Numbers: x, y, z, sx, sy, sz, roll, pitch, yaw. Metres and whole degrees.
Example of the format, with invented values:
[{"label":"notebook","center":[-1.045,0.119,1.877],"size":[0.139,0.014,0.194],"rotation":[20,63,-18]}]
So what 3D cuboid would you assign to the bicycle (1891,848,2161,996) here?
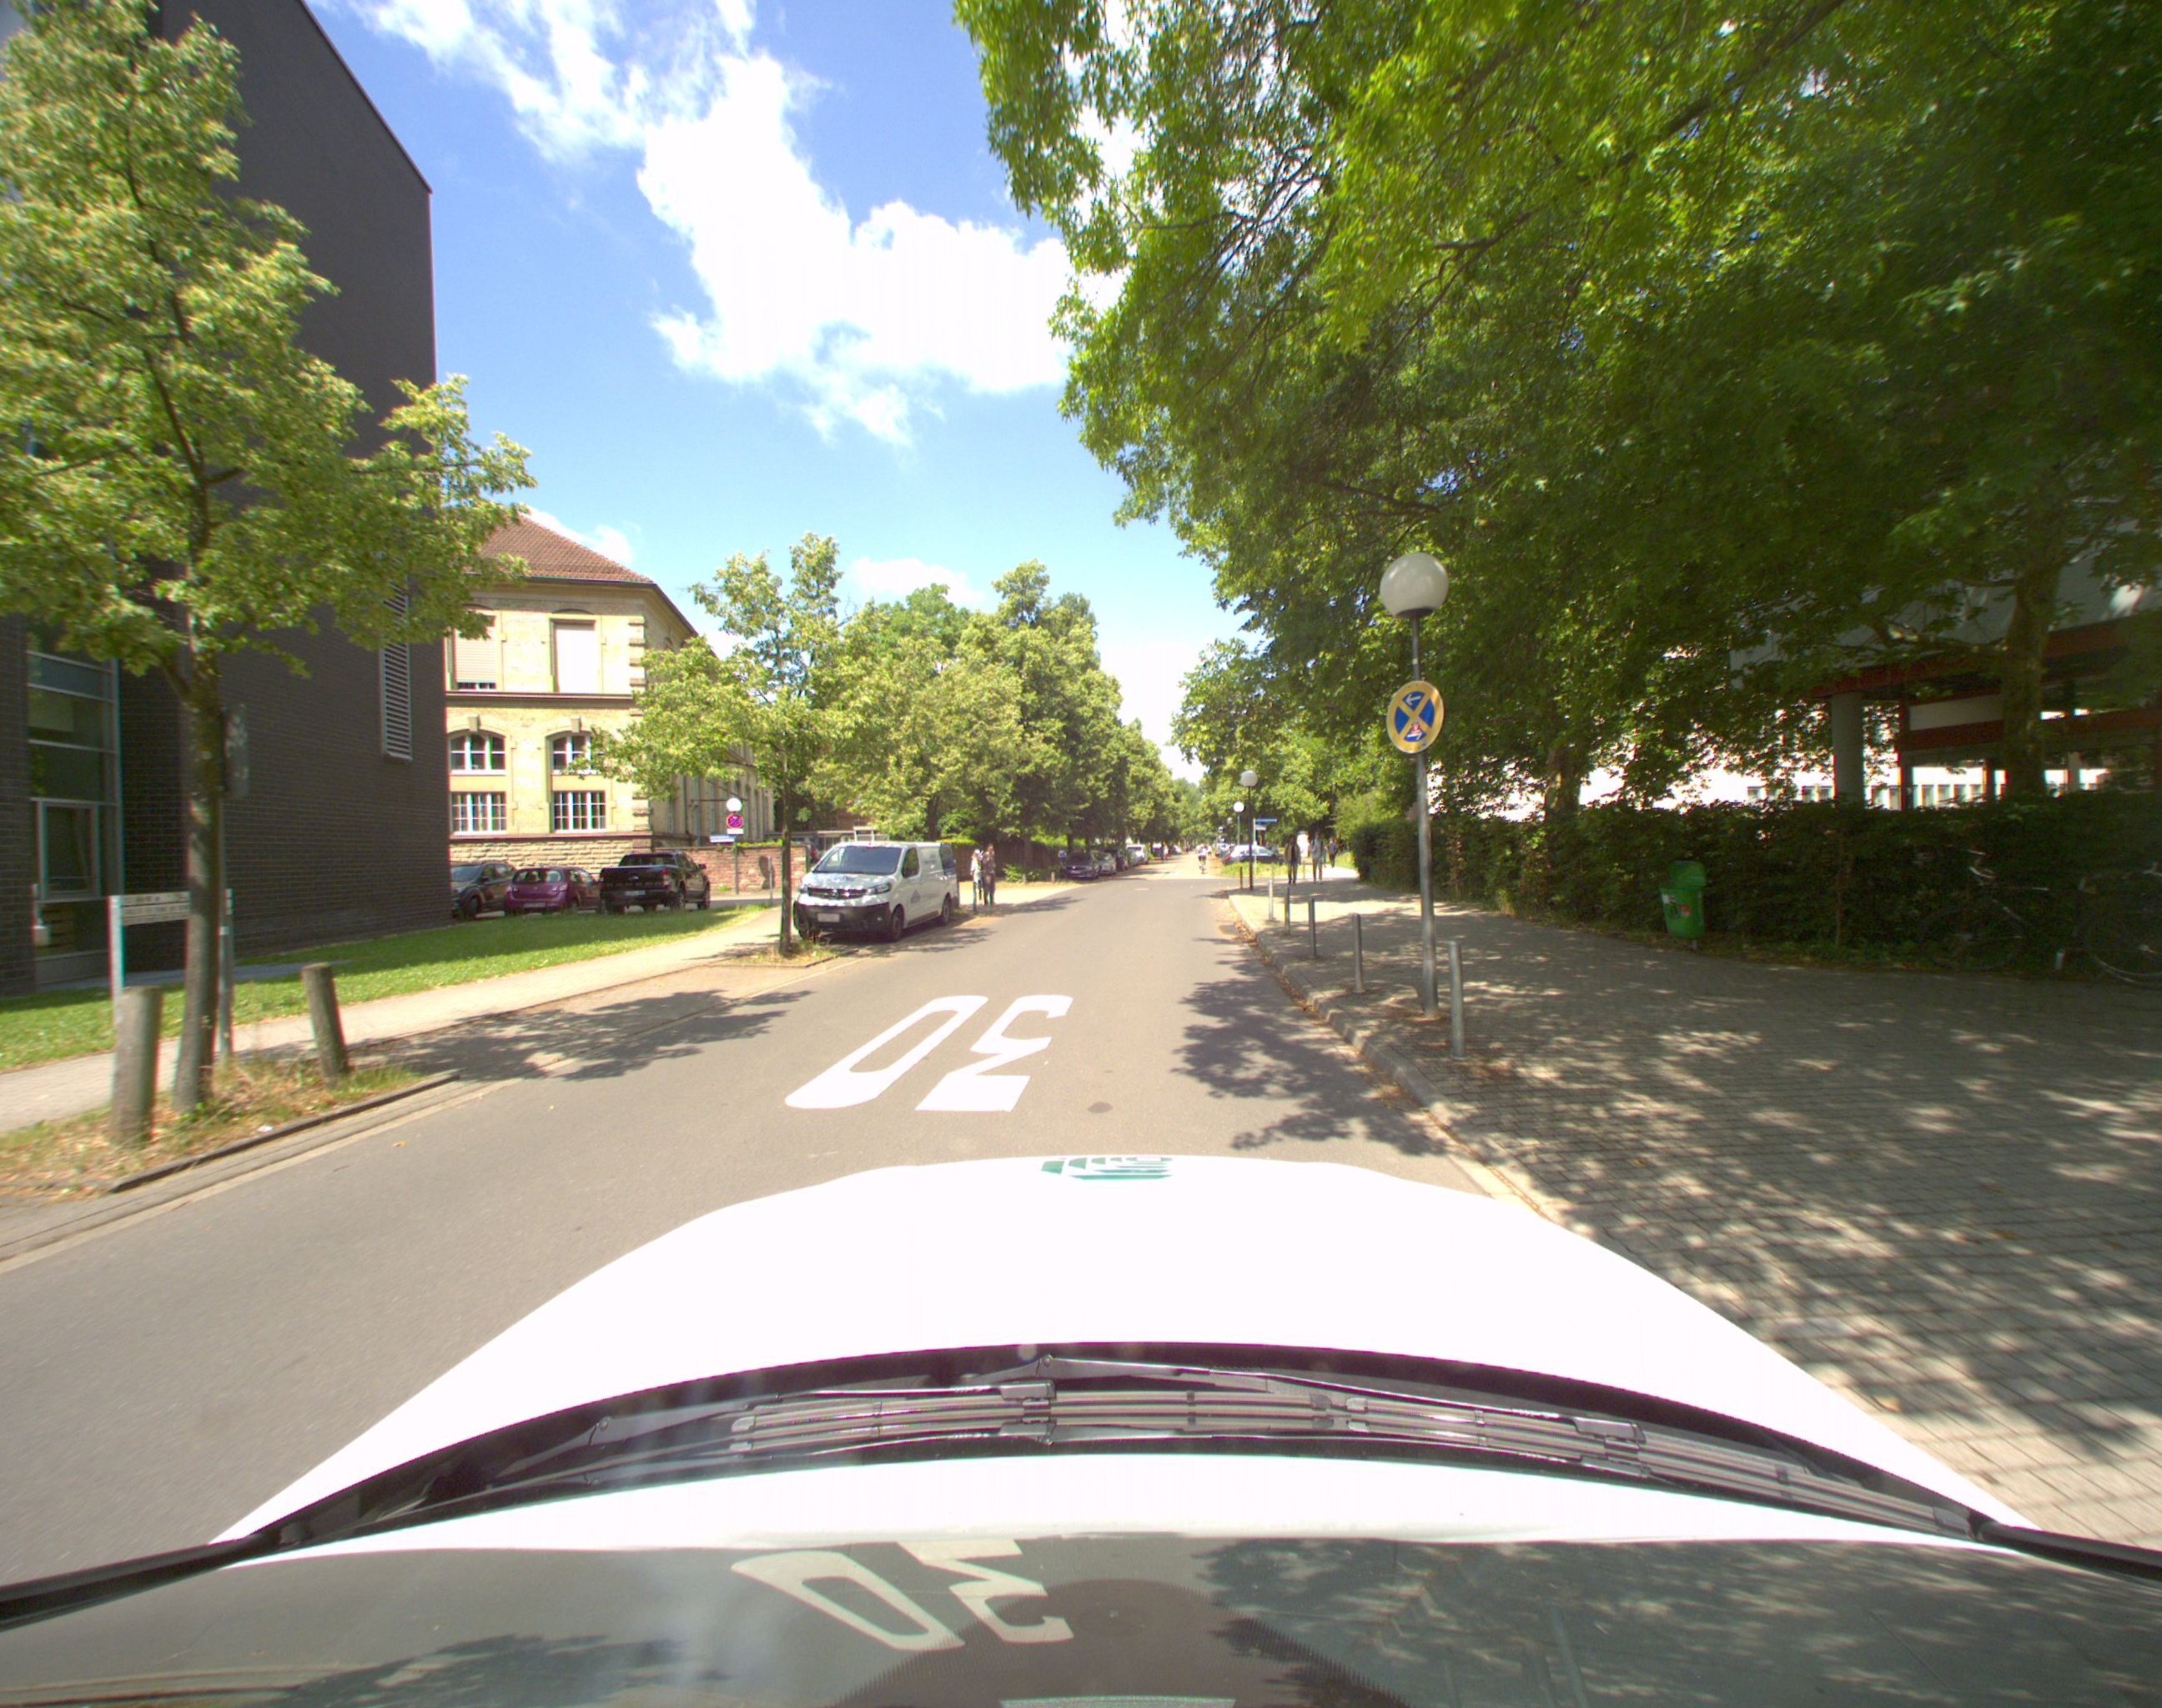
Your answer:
[{"label":"bicycle","center":[8.439,0.518,7.161],"size":[0.618,1.119,1.867],"rotation":[-2,0,-8]}]

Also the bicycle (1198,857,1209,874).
[{"label":"bicycle","center":[7.503,0.669,49.833],"size":[0.610,1.001,1.426],"rotation":[-1,0,7]}]

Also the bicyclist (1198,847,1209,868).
[{"label":"bicyclist","center":[7.487,0.205,49.848],"size":[0.606,1.296,0.612],"rotation":[-1,0,7]}]

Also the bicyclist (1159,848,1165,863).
[{"label":"bicyclist","center":[8.135,0.117,82.043],"size":[0.560,1.498,0.829],"rotation":[-1,0,7]}]

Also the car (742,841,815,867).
[{"label":"car","center":[-19.106,-0.010,51.480],"size":[4.115,1.517,1.739],"rotation":[-2,0,-31]}]

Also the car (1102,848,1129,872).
[{"label":"car","center":[2.554,0.386,59.766],"size":[1.607,1.679,4.009],"rotation":[-1,0,7]}]

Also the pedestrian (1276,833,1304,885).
[{"label":"pedestrian","center":[7.412,0.167,28.871],"size":[0.815,1.755,0.844],"rotation":[-4,0,15]}]

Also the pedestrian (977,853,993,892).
[{"label":"pedestrian","center":[-3.954,0.748,33.448],"size":[0.496,1.585,0.490],"rotation":[-1,0,-26]}]

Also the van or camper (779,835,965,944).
[{"label":"van or camper","center":[-4.116,0.622,17.199],"size":[1.943,1.923,5.431],"rotation":[0,0,7]}]

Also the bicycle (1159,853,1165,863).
[{"label":"bicycle","center":[8.140,0.423,81.992],"size":[0.574,1.001,1.426],"rotation":[-1,0,7]}]

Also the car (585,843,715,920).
[{"label":"car","center":[-12.252,0.712,23.571],"size":[2.179,1.925,5.159],"rotation":[-1,0,-15]}]

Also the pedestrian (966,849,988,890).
[{"label":"pedestrian","center":[-4.326,0.640,33.967],"size":[0.632,1.663,0.596],"rotation":[-1,0,-41]}]

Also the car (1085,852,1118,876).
[{"label":"car","center":[1.329,0.577,51.145],"size":[1.607,1.387,4.009],"rotation":[-1,0,7]}]

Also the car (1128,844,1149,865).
[{"label":"car","center":[5.308,0.061,74.885],"size":[1.607,1.815,4.009],"rotation":[-1,0,7]}]

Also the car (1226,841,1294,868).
[{"label":"car","center":[11.797,0.015,53.897],"size":[4.232,1.588,1.815],"rotation":[-2,0,8]}]

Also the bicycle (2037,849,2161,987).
[{"label":"bicycle","center":[9.129,0.524,6.559],"size":[0.498,1.119,1.867],"rotation":[-2,0,-8]}]

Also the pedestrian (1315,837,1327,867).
[{"label":"pedestrian","center":[14.594,-0.123,49.536],"size":[0.597,1.755,0.631],"rotation":[-1,0,14]}]

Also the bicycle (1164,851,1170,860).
[{"label":"bicycle","center":[9.708,0.180,91.927],"size":[0.610,1.001,1.426],"rotation":[-1,0,7]}]

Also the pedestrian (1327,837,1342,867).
[{"label":"pedestrian","center":[15.335,-0.120,49.254],"size":[0.815,1.755,0.631],"rotation":[-1,0,13]}]

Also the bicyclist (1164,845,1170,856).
[{"label":"bicyclist","center":[9.704,-0.408,91.975],"size":[0.605,1.296,0.612],"rotation":[-1,0,7]}]

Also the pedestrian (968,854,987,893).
[{"label":"pedestrian","center":[-4.146,0.775,32.694],"size":[0.588,1.527,0.489],"rotation":[-1,0,-32]}]

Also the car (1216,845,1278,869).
[{"label":"car","center":[11.925,0.213,58.819],"size":[4.232,1.588,1.815],"rotation":[-2,0,8]}]

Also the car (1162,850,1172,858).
[{"label":"car","center":[15.407,-0.010,145.761],"size":[1.607,1.365,4.007],"rotation":[-1,0,6]}]

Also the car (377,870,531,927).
[{"label":"car","center":[-16.933,1.141,22.268],"size":[1.820,1.324,4.142],"rotation":[1,0,-14]}]

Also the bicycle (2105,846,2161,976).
[{"label":"bicycle","center":[9.671,0.492,6.458],"size":[0.498,1.119,1.931],"rotation":[-2,0,-8]}]

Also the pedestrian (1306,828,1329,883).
[{"label":"pedestrian","center":[8.360,0.052,28.826],"size":[0.667,1.872,0.794],"rotation":[-1,0,11]}]

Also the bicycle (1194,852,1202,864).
[{"label":"bicycle","center":[9.711,0.308,67.528],"size":[0.610,1.001,1.426],"rotation":[-1,0,7]}]

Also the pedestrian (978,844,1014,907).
[{"label":"pedestrian","center":[-2.540,0.628,24.409],"size":[0.717,1.857,0.796],"rotation":[-1,0,25]}]

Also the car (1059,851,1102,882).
[{"label":"car","center":[0.026,0.627,43.495],"size":[1.750,1.522,4.120],"rotation":[-1,0,7]}]

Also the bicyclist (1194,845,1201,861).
[{"label":"bicyclist","center":[9.681,-0.097,67.461],"size":[0.519,1.296,0.612],"rotation":[-1,0,7]}]

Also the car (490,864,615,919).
[{"label":"car","center":[-14.772,0.993,23.012],"size":[1.820,1.324,3.749],"rotation":[-1,0,-14]}]

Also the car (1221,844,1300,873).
[{"label":"car","center":[10.756,0.278,49.078],"size":[4.460,1.525,1.815],"rotation":[-2,0,8]}]

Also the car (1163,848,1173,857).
[{"label":"car","center":[14.174,-0.298,132.646],"size":[1.607,1.365,4.571],"rotation":[-1,0,6]}]

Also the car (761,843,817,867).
[{"label":"car","center":[-21.722,0.060,60.718],"size":[3.864,1.621,1.746],"rotation":[-2,0,-18]}]

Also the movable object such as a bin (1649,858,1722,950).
[{"label":"movable object such as a bin","center":[7.378,0.599,9.958],"size":[0.488,1.072,0.504],"rotation":[-1,0,-6]}]
